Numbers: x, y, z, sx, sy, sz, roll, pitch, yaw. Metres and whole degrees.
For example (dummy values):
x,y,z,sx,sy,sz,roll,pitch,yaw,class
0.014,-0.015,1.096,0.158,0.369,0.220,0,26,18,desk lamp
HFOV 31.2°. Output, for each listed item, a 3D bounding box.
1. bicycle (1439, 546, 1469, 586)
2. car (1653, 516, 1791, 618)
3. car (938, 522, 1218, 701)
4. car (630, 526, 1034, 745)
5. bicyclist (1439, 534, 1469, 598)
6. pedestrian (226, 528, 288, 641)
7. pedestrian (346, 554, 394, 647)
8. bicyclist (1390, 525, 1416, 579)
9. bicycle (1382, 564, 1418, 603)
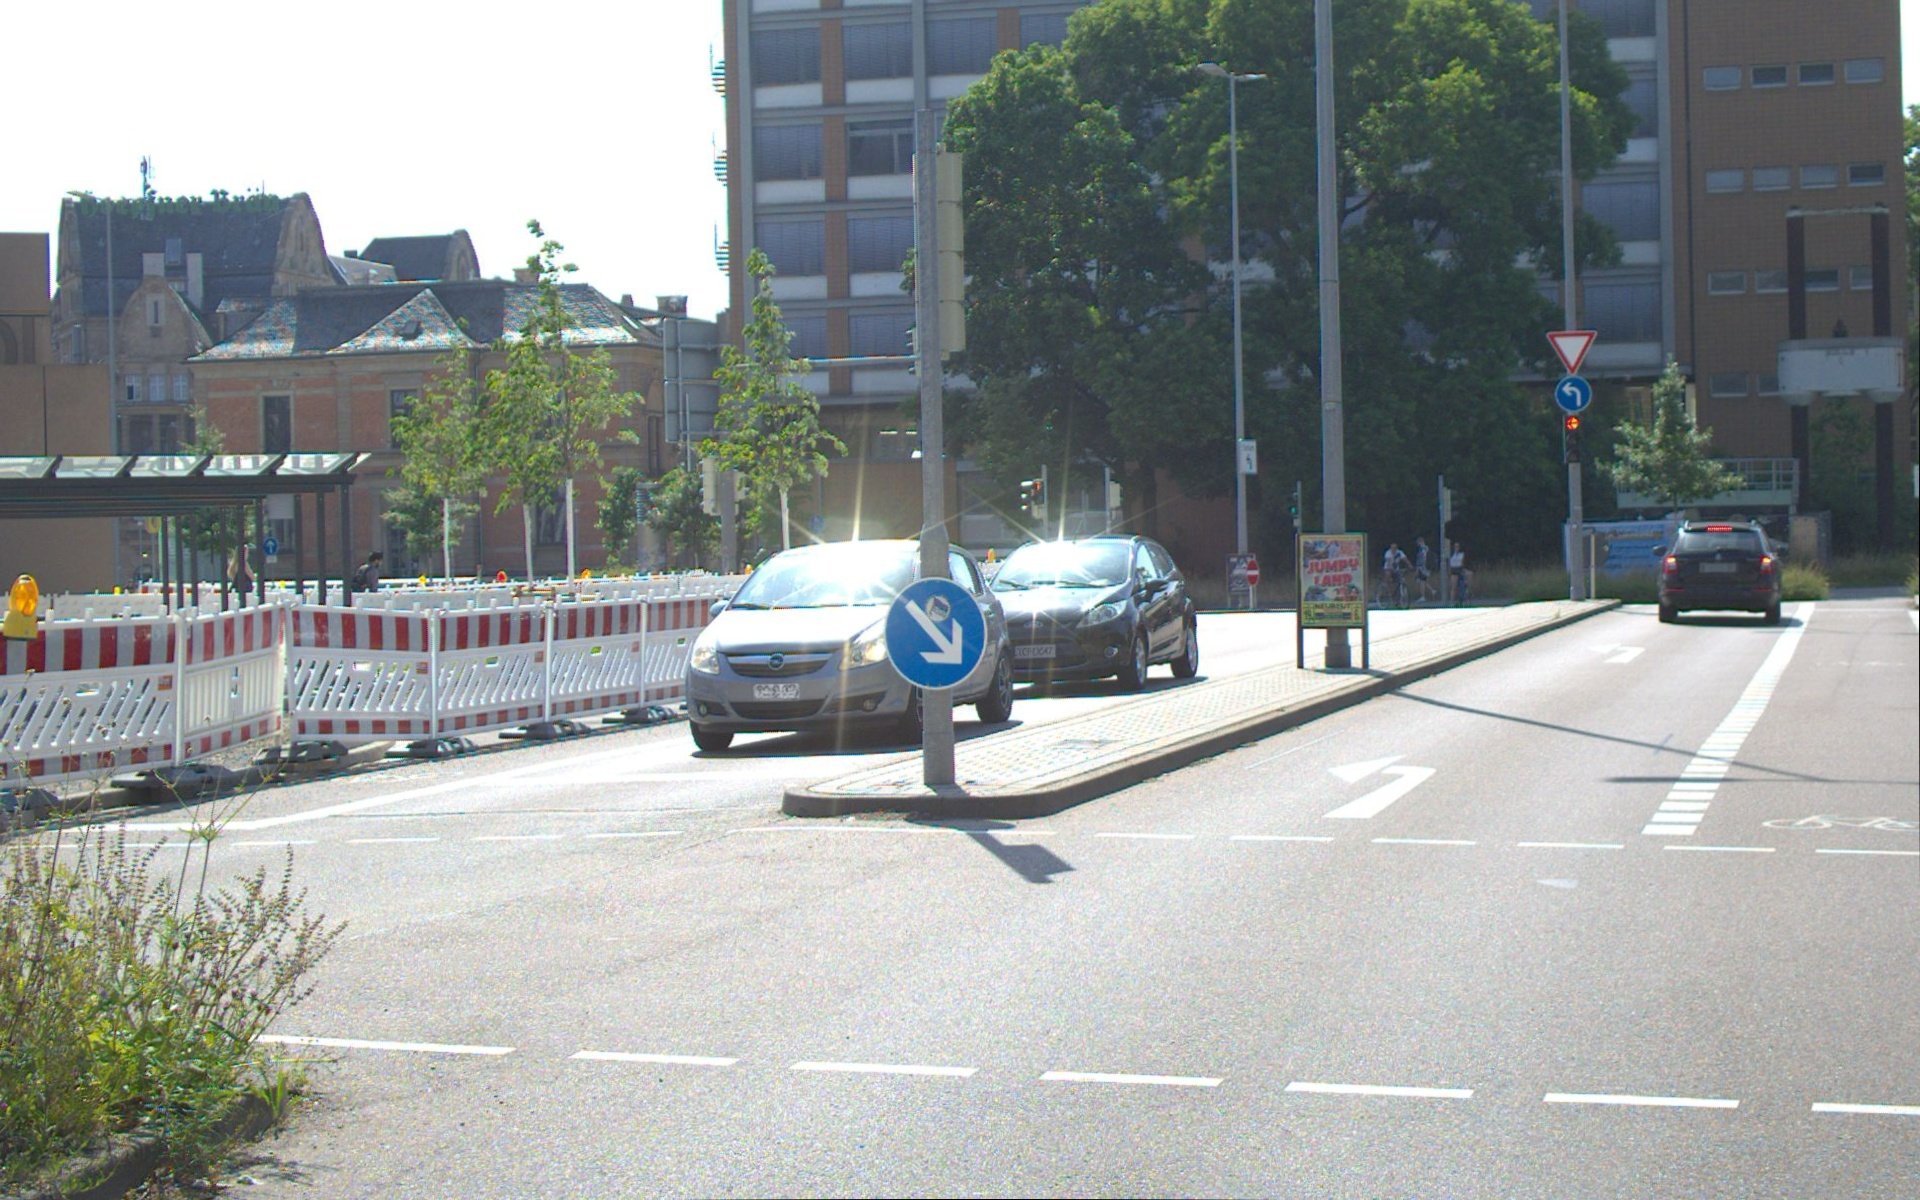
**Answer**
x,y,z,sx,sy,sz,roll,pitch,yaw,class
12.649,-0.878,87.994,0.619,0.957,1.967,-4,0,10,bicycle
11.231,-0.515,50.537,1.781,1.438,3.815,1,1,15,car
1.185,0.065,32.558,1.667,1.446,3.815,-5,0,16,car
-0.839,0.207,25.277,1.795,1.407,3.997,-3,1,15,car
12.649,-0.878,87.994,0.619,1.576,1.013,-4,0,10,bicyclist
-11.205,-0.243,54.811,0.736,1.746,1.111,-2,-1,-1,pedestrian
-9.638,0.009,56.176,0.630,1.486,0.617,-2,1,-1,pedestrian
11.658,-1.258,90.444,0.539,1.412,1.029,-2,0,13,bicyclist
11.574,-0.429,90.361,0.704,0.974,2.030,-2,1,13,bicycle
